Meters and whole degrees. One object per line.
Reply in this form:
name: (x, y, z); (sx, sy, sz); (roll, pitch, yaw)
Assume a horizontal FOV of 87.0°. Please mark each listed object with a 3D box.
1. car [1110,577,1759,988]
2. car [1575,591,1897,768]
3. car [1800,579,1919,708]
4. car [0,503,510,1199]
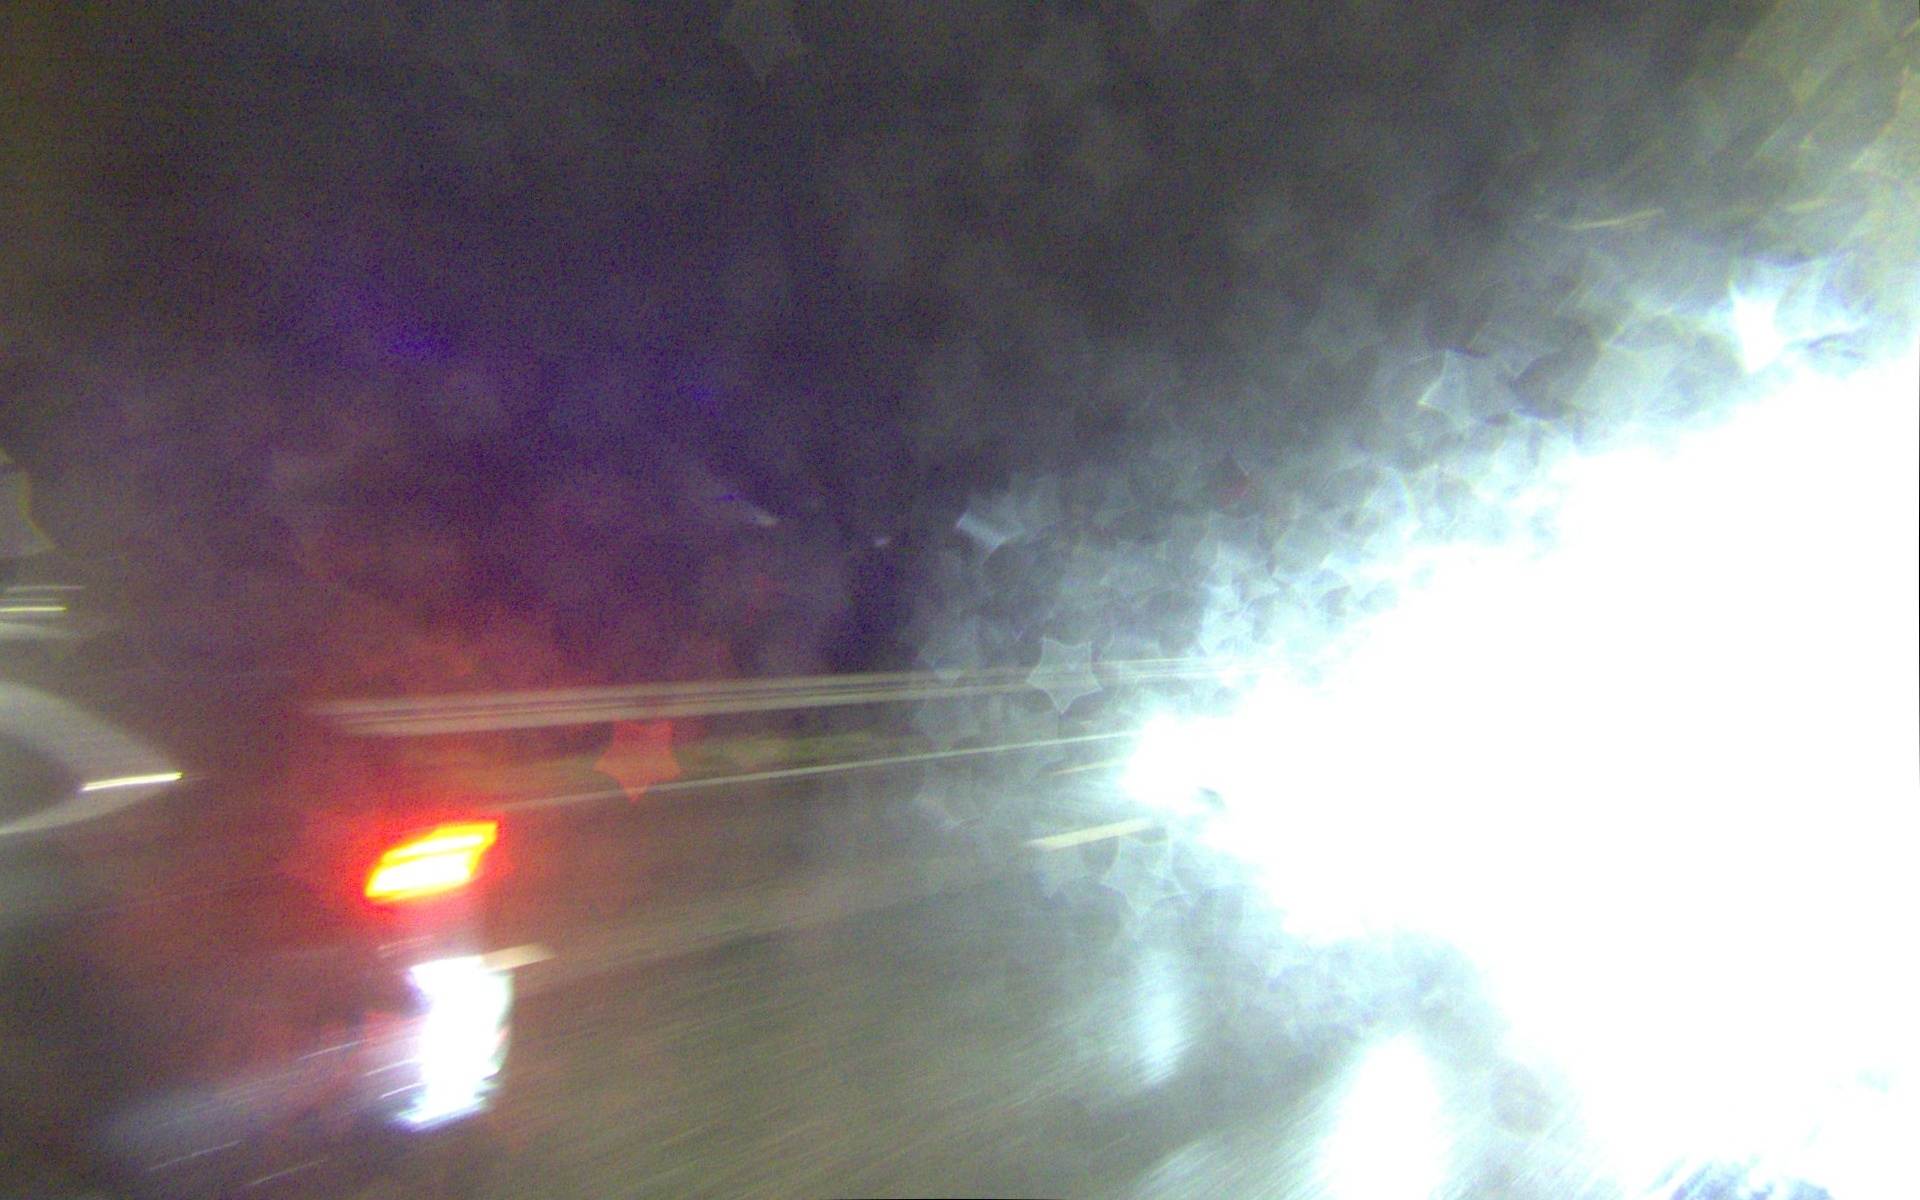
car: (2.972, 0.651, 5.849); (4.335, 1.540, 1.710); (-1, 1, -40)
car: (8.050, 0.645, 10.370); (4.066, 1.435, 1.742); (-1, 1, -39)
car: (13.643, 0.525, 14.299); (4.314, 1.618, 1.998); (-1, 2, -40)
car: (-3.165, 0.654, 1.255); (4.479, 1.525, 1.675); (-1, -1, -40)
